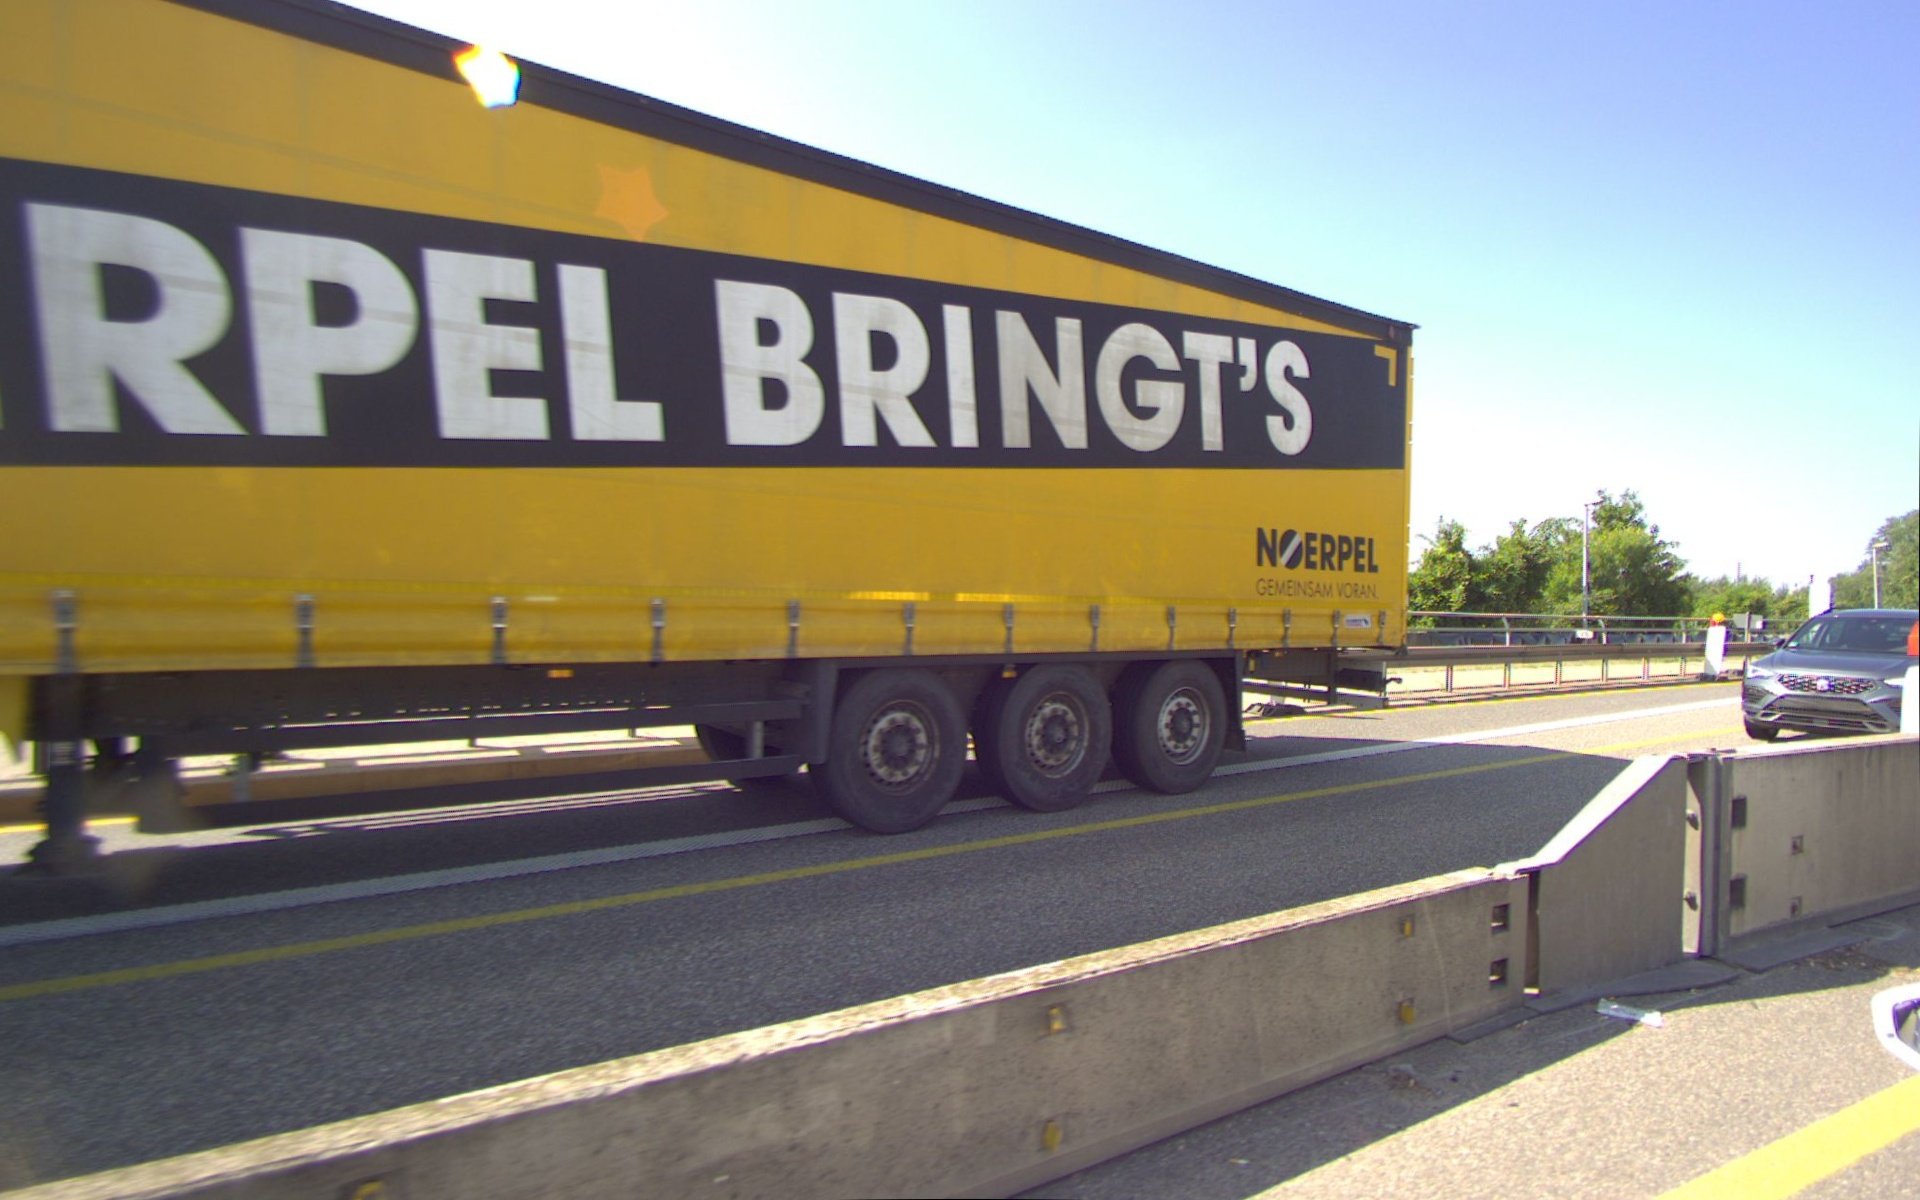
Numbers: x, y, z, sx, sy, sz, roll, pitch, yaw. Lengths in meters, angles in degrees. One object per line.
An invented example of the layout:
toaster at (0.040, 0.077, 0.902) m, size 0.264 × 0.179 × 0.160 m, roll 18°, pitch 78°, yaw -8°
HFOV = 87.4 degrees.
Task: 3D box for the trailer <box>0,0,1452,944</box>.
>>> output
trailer at (-2.044, -0.757, 6.444) m, size 14.386 × 4.191 × 2.743 m, roll 2°, pitch -1°, yaw -35°

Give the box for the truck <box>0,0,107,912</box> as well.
truck at (-6.928, -0.901, 2.973) m, size 6.350 × 4.191 × 2.732 m, roll 2°, pitch -1°, yaw -35°

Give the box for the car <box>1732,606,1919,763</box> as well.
car at (11.036, 0.906, 12.022) m, size 3.834 × 1.589 × 1.778 m, roll 1°, pitch 0°, yaw -35°

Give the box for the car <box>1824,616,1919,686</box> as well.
car at (22.965, 1.201, 24.224) m, size 4.417 × 1.528 × 1.923 m, roll 1°, pitch 0°, yaw -31°
